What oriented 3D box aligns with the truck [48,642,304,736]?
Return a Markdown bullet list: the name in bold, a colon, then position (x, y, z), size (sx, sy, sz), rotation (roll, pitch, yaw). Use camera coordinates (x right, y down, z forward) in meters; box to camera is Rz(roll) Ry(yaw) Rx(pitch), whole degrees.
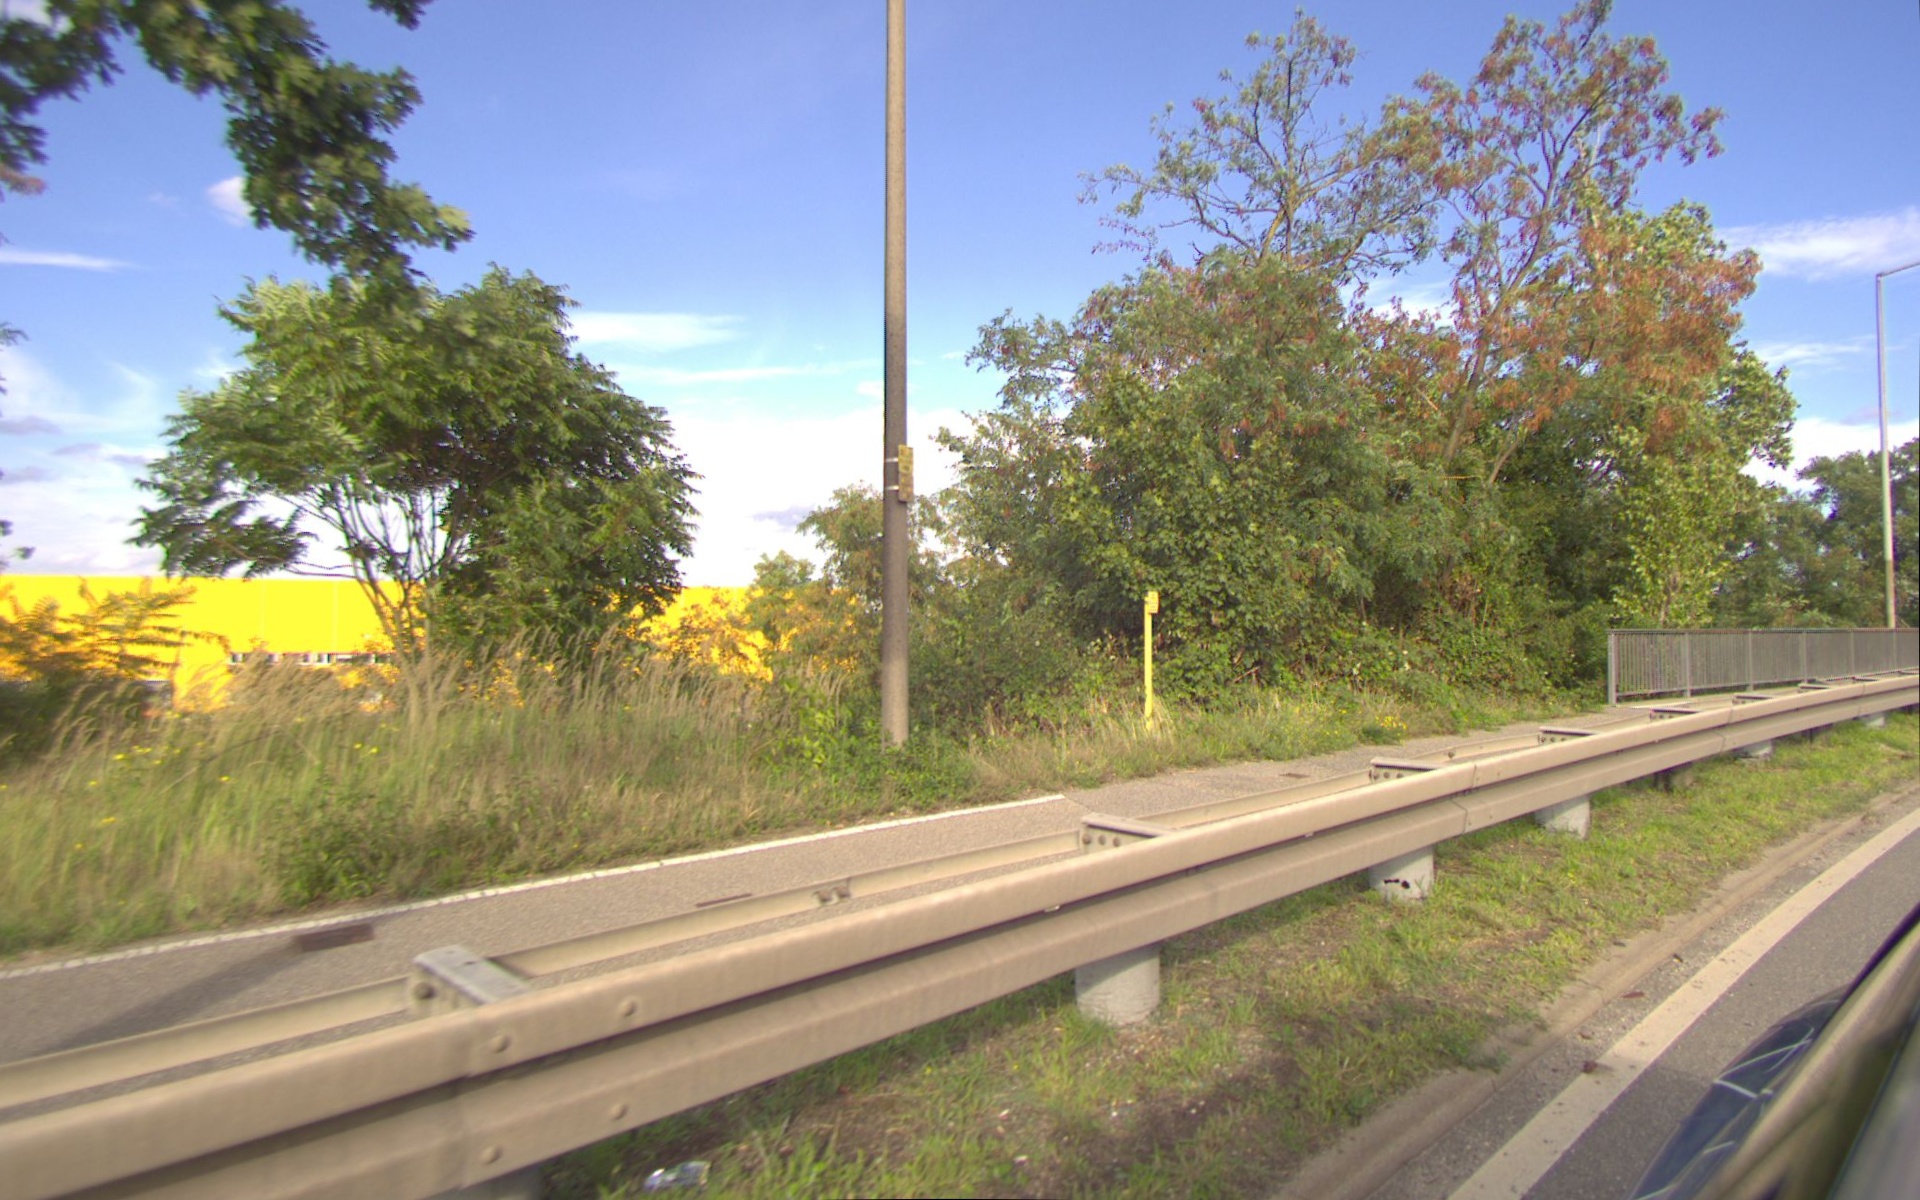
- **truck**: position (-44.536, 4.959, 57.972), size (11.041, 4.916, 3.648), rotation (0, 0, -12)
